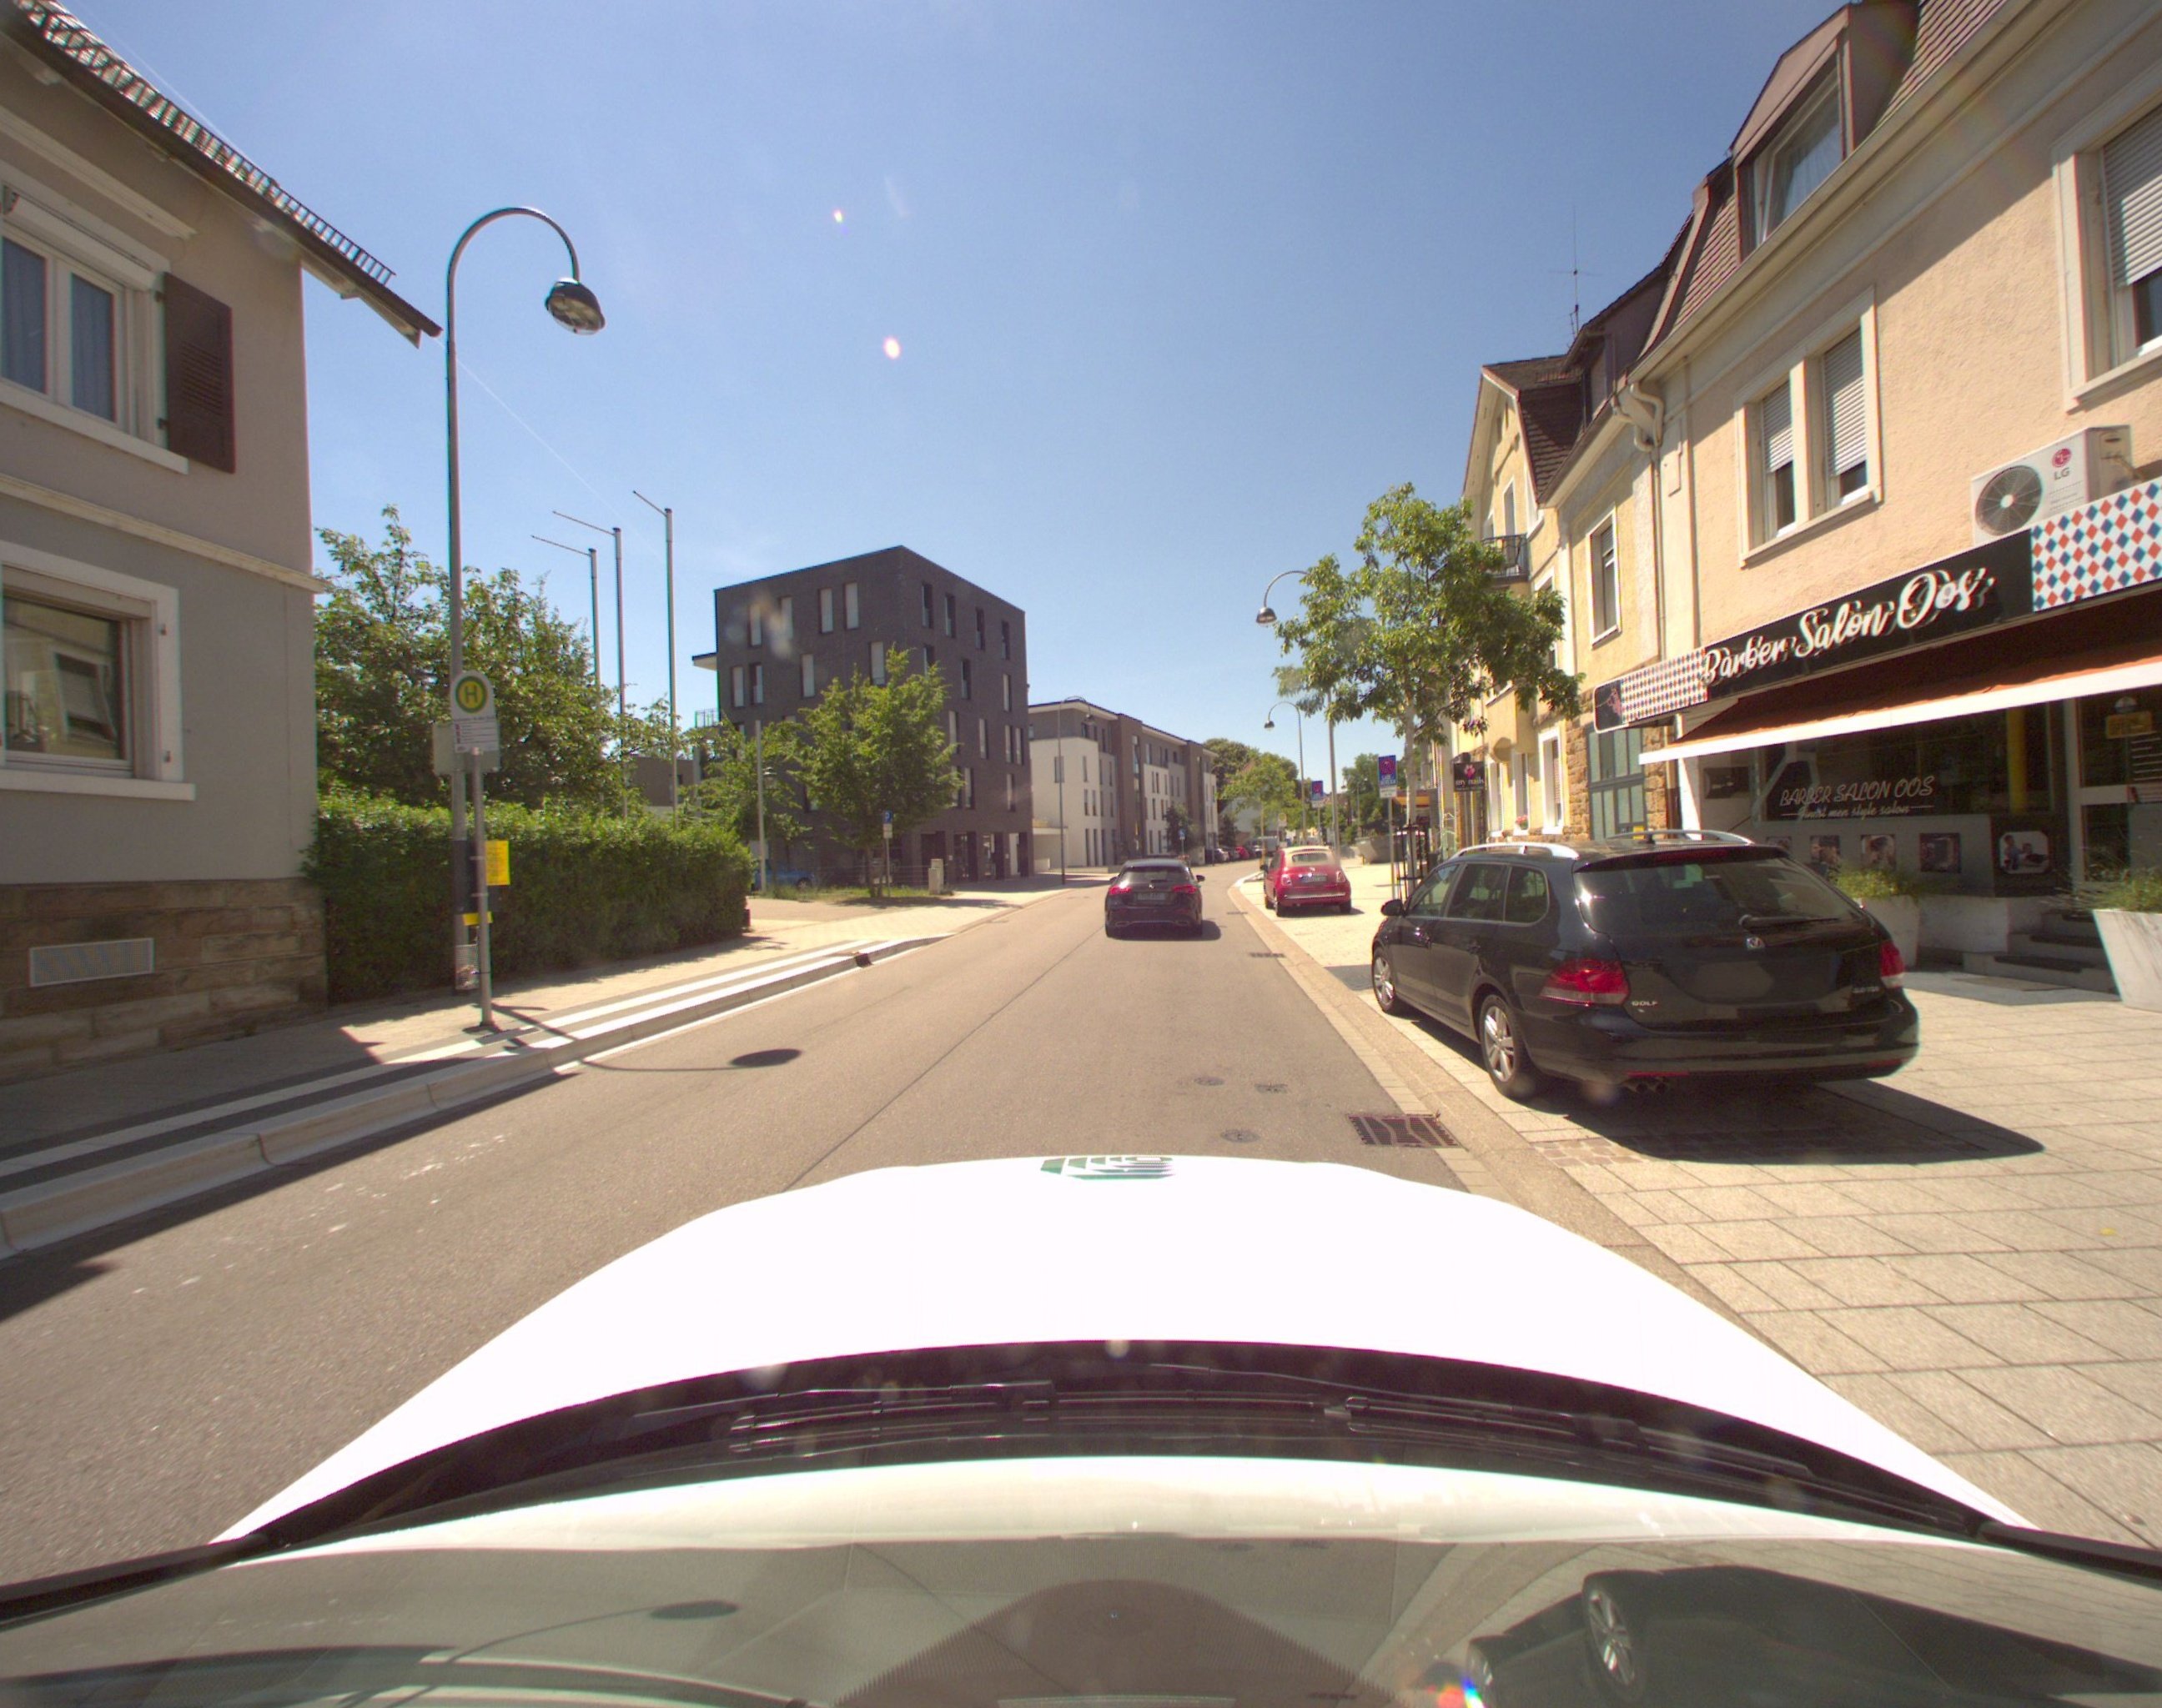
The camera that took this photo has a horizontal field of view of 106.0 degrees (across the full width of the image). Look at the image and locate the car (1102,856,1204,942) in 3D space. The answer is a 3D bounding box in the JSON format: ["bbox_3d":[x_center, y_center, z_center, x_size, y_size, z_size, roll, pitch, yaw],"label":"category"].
[{"bbox_3d":[1.524,0.790,16.400,1.753,1.457,4.447,0,0,7],"label":"car"}]

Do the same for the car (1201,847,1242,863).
[{"bbox_3d":[15.271,0.121,88.363,3.950,1.662,2.012,-2,0,26],"label":"car"}]

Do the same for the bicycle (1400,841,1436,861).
[{"bbox_3d":[21.203,-0.190,51.241,2.027,1.178,0.898,-2,0,25],"label":"bicycle"}]

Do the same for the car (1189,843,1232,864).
[{"bbox_3d":[13.311,-0.052,83.704,3.950,2.013,2.012,-2,0,27],"label":"car"}]

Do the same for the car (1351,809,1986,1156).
[{"bbox_3d":[3.359,0.609,5.772,1.742,1.486,4.005,-5,-1,4],"label":"car"}]

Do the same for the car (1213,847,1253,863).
[{"bbox_3d":[16.915,0.140,90.776,3.950,1.662,2.012,-2,0,26],"label":"car"}]

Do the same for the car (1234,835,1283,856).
[{"bbox_3d":[22.730,-1.087,104.403,5.589,2.579,2.530,-2,0,27],"label":"car"}]

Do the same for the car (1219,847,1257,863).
[{"bbox_3d":[18.214,0.101,94.486,3.950,1.662,2.012,-2,0,26],"label":"car"}]

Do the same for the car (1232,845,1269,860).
[{"bbox_3d":[20.728,-0.217,99.645,3.950,1.662,2.012,-2,0,26],"label":"car"}]

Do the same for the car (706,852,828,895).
[{"bbox_3d":[-12.756,0.754,33.297,1.974,1.569,4.195,-2,0,38],"label":"car"}]

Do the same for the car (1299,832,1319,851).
[{"bbox_3d":[24.905,-1.324,89.022,1.978,2.013,4.017,-2,0,16],"label":"car"}]

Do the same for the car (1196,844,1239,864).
[{"bbox_3d":[14.378,-0.022,85.935,3.950,2.013,2.012,-2,0,27],"label":"car"}]

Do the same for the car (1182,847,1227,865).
[{"bbox_3d":[12.326,0.161,81.444,3.950,1.662,2.012,-2,0,26],"label":"car"}]

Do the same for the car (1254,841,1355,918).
[{"bbox_3d":[5.100,0.532,18.967,1.598,1.530,3.497,-4,0,5],"label":"car"}]
